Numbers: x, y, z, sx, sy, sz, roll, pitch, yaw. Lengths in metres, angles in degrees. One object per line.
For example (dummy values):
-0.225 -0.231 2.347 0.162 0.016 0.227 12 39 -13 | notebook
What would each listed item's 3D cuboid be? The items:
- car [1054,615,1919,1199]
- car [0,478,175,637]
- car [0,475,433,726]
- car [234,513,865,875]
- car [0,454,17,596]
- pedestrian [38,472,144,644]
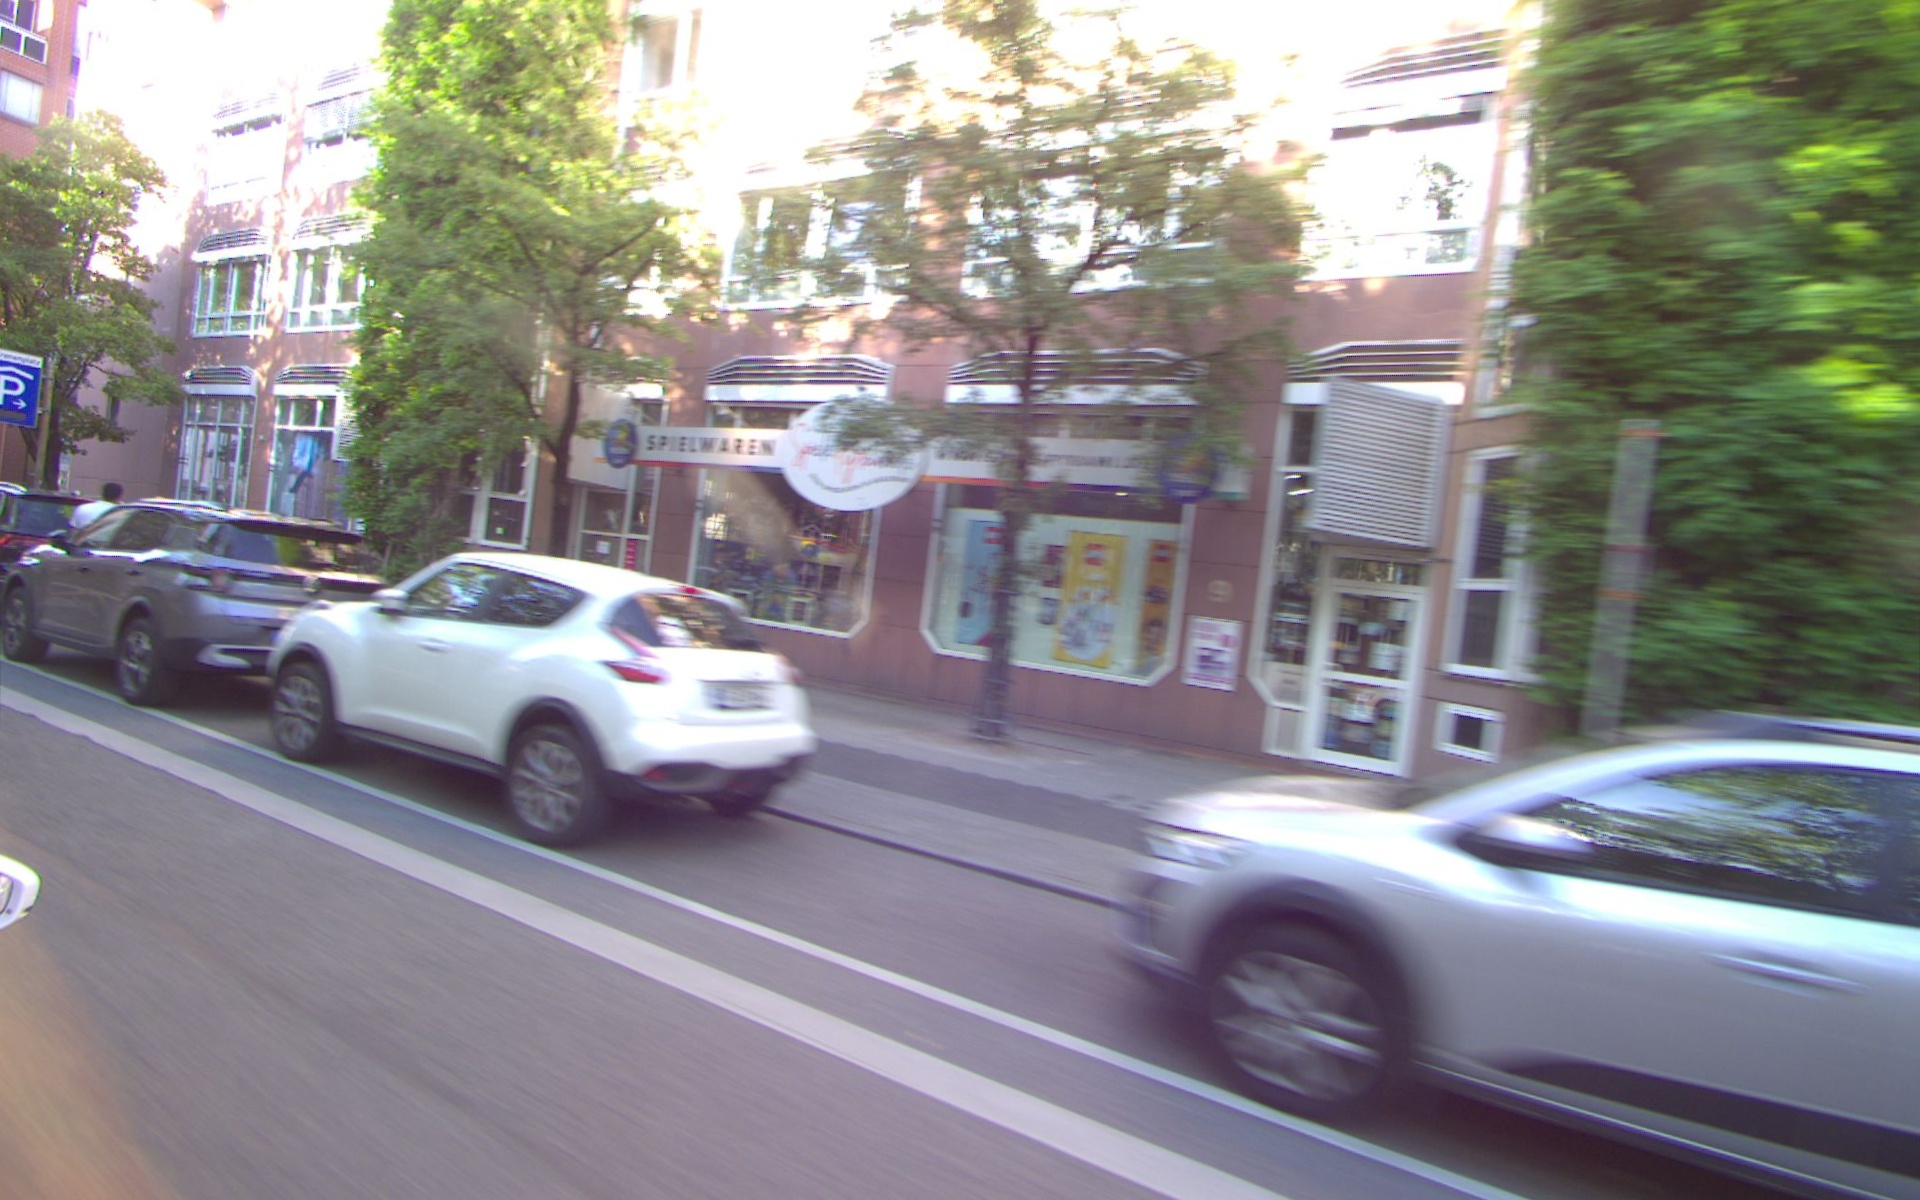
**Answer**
2.588 1.122 3.652 3.932 1.598 1.832 7 0 30 | car
-12.052 -0.658 12.731 4.128 1.690 1.791 7 0 30 | car
-7.095 -0.071 9.256 4.364 1.690 1.790 7 0 30 | car
-2.857 0.461 6.863 3.932 1.598 1.832 7 0 30 | car
-16.936 -1.447 15.539 5.082 2.104 1.922 7 0 30 | car
-9.873 -0.467 11.455 0.656 1.835 0.710 6 1 -31 | pedestrian
